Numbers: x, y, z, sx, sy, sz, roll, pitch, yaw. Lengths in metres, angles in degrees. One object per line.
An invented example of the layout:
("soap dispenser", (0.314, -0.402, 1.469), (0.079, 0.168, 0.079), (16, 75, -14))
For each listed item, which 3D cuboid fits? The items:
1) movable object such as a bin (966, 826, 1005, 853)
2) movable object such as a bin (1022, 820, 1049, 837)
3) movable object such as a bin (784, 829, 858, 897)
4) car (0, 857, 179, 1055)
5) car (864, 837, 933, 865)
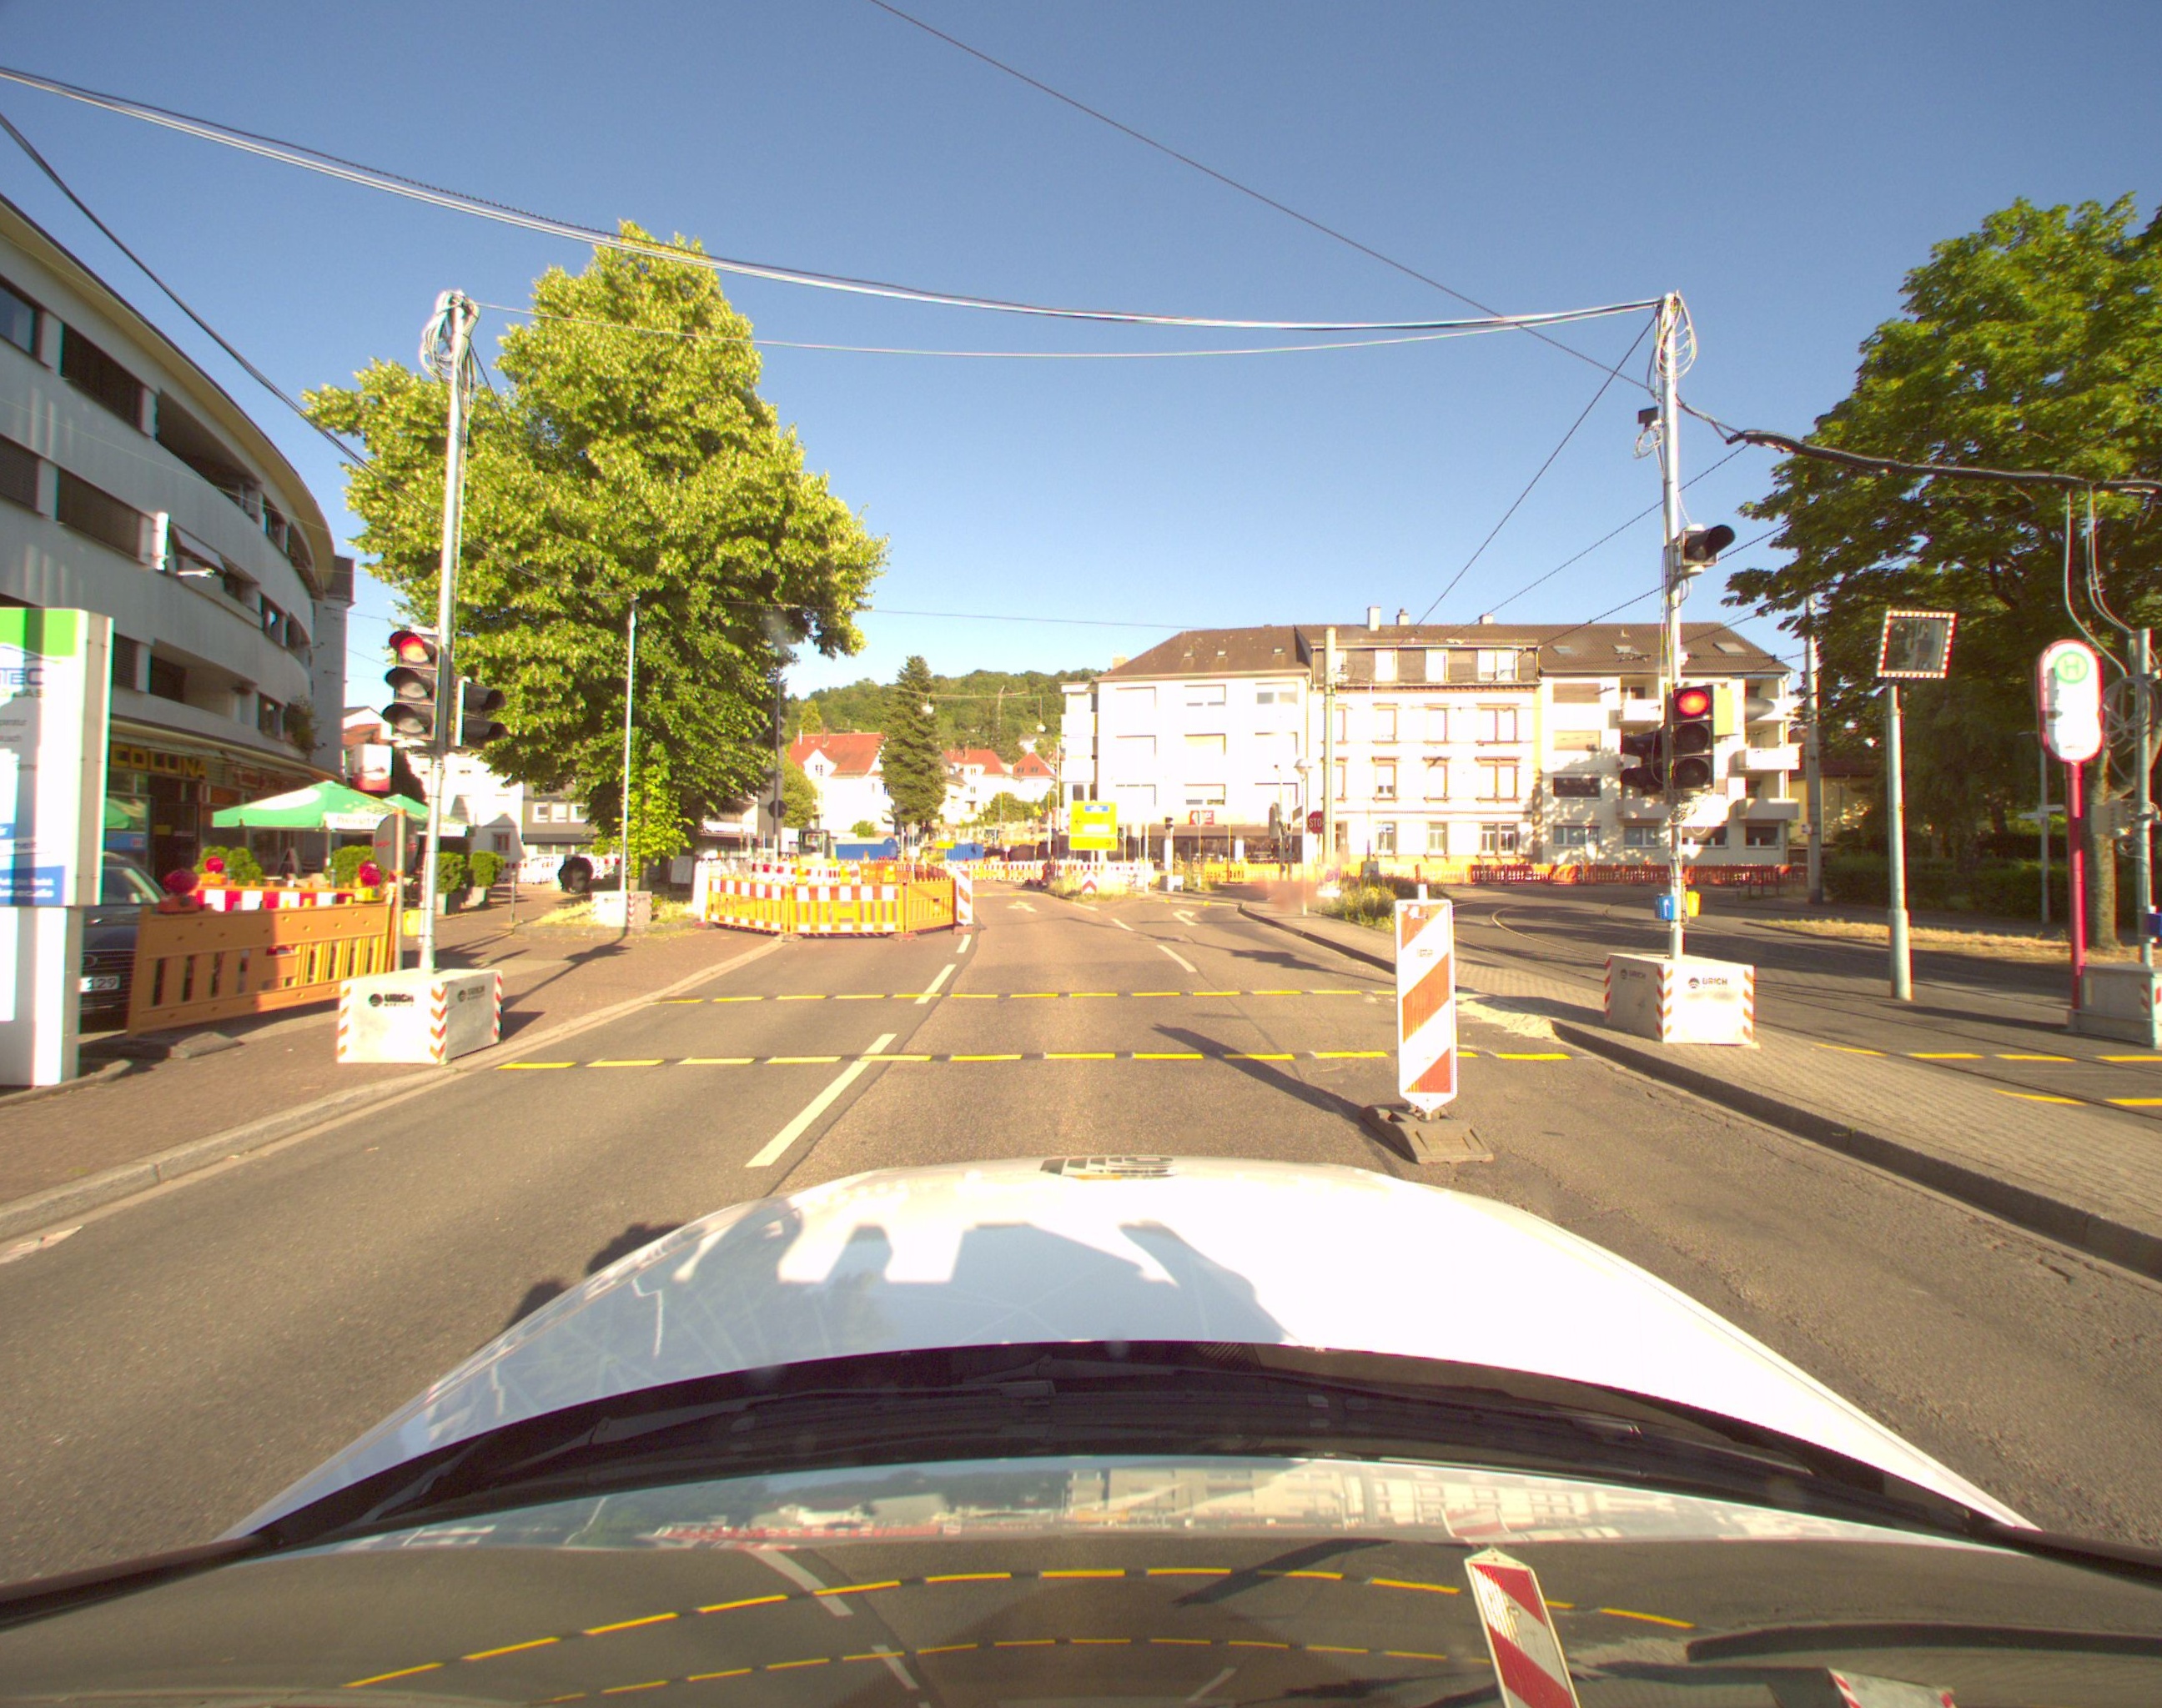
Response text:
("movable object such as a bin", (-9.241, -1.347, 79.396), (1.932, 2.494, 4.574), (-1, -1, 20))
("movable object such as a bin", (-6.419, -3.592, 115.296), (2.549, 2.122, 5.801), (-1, -1, 11))
("movable object such as a bin", (-9.443, 0.301, 29.875), (1.643, 2.324, 3.916), (0, 0, -3))
("car", (-9.320, 0.779, 7.313), (3.835, 1.438, 1.606), (-1, 0, 42))
("car", (-14.852, -0.227, 66.679), (2.562, 2.121, 6.181), (-1, -1, 20))
